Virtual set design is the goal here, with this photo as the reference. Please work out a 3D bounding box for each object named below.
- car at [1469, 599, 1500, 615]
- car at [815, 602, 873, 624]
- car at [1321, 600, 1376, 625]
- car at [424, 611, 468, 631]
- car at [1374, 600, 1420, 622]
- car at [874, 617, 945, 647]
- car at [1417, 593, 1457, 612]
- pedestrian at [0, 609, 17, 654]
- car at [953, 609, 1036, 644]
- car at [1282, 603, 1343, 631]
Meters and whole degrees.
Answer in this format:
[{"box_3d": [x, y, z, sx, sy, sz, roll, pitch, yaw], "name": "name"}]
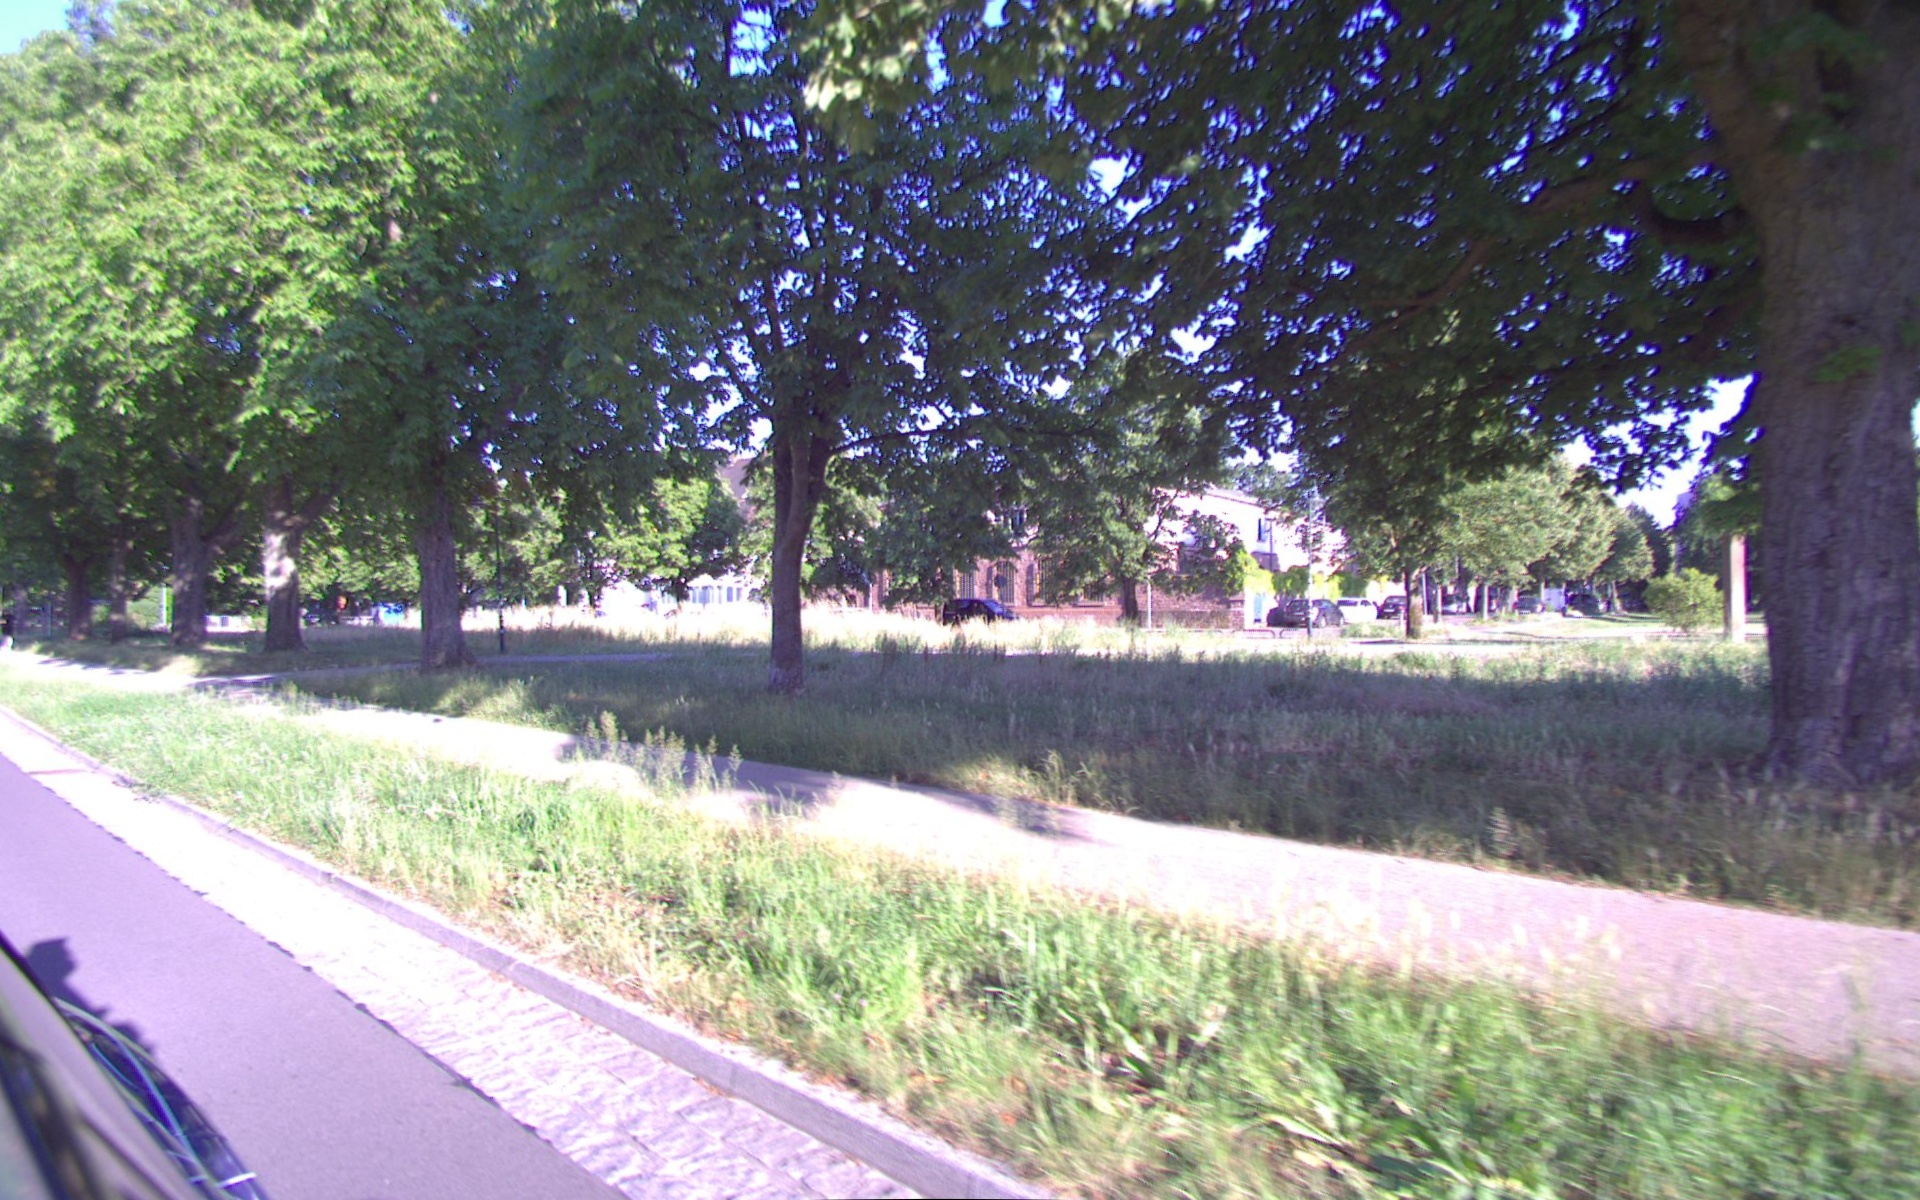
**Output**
[{"box_3d": [44.192, 0.582, 85.247, 1.584, 1.290, 3.592, -1, 1, 39], "name": "car"}, {"box_3d": [-7.107, 0.767, 61.992, 3.580, 1.284, 1.564, -1, 1, 42], "name": "car"}, {"box_3d": [21.217, 0.656, 55.189, 1.586, 1.290, 3.589, -1, 1, 42], "name": "car"}, {"box_3d": [-44.613, 1.856, 87.788, 4.424, 1.641, 1.849, -1, 0, 41], "name": "car"}, {"box_3d": [27.675, 0.703, 64.039, 1.586, 1.290, 3.589, -1, 1, 42], "name": "car"}, {"box_3d": [-2.957, 1.837, 58.462, 3.998, 1.641, 1.744, -1, 0, 41], "name": "car"}, {"box_3d": [34.582, 0.149, 73.332, 1.586, 1.290, 3.589, -1, 1, 42], "name": "car"}, {"box_3d": [-40.664, 1.328, 43.017, 0.616, 1.865, 0.606, -1, 0, -10], "name": "pedestrian"}, {"box_3d": [1.557, 1.182, 46.131, 3.639, 1.492, 1.564, -1, 1, 42], "name": "car"}, {"box_3d": [17.578, 0.832, 50.381, 1.586, 1.290, 3.589, -1, 1, 42], "name": "car"}]
